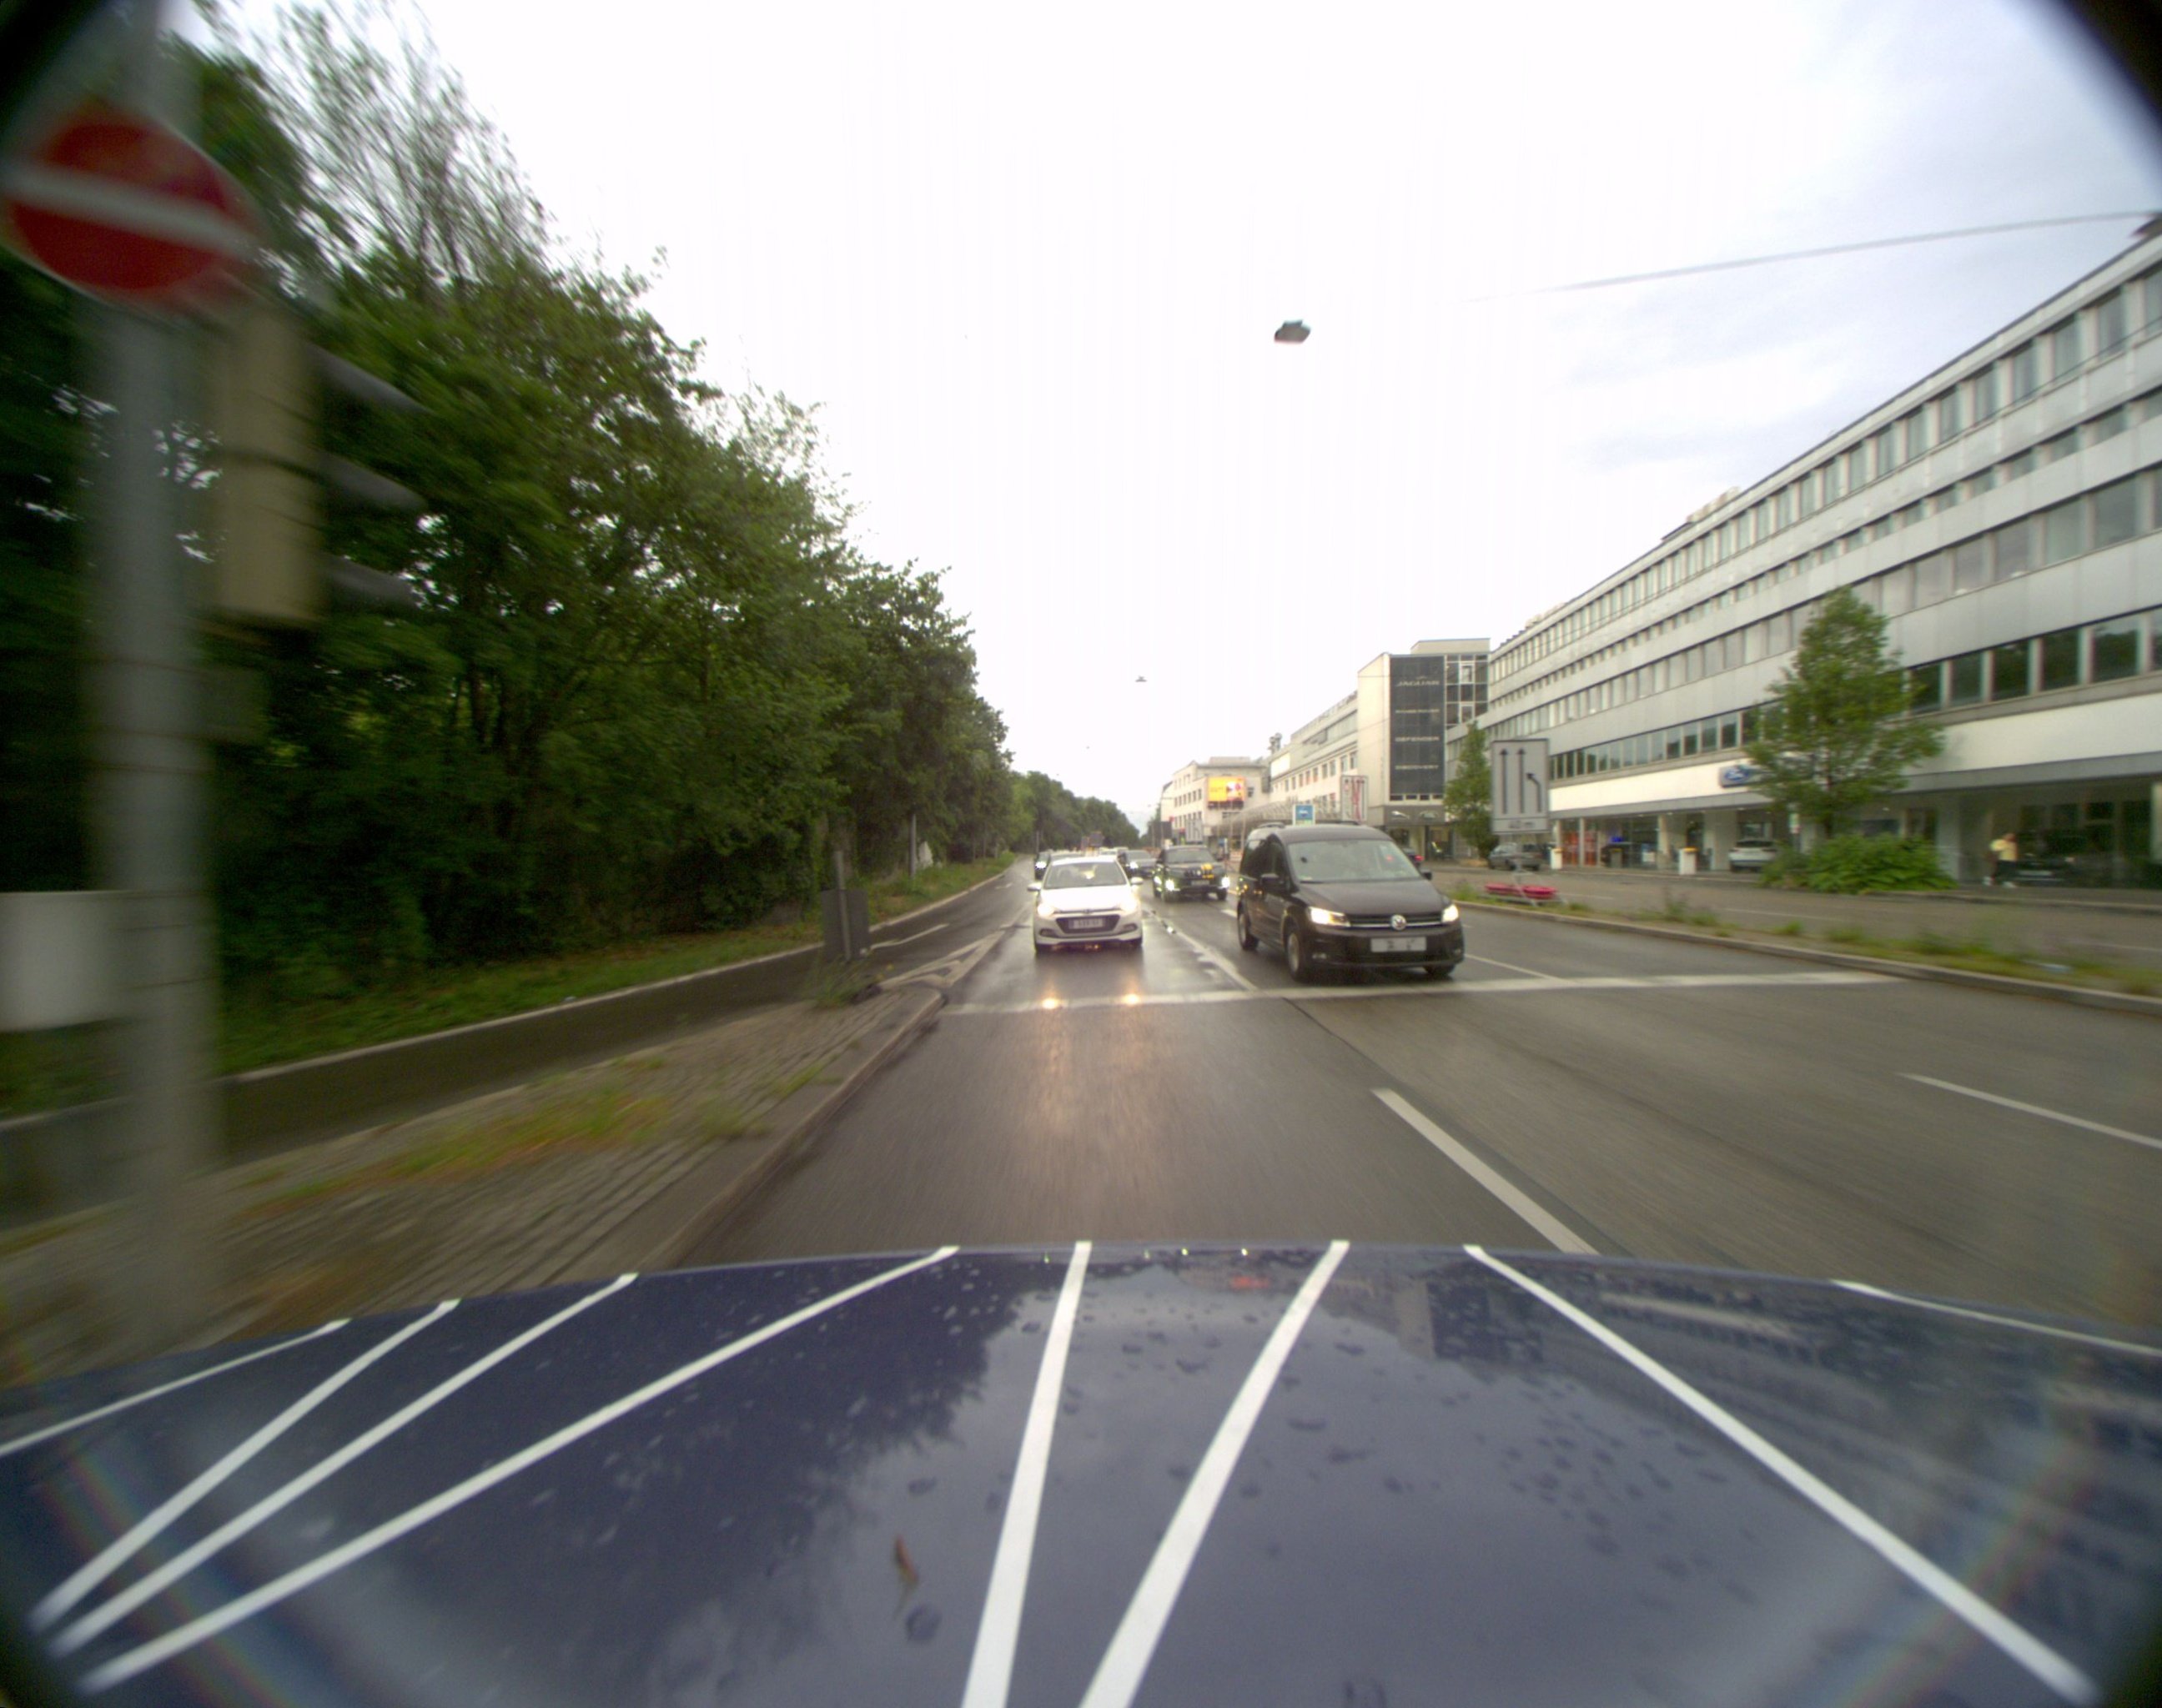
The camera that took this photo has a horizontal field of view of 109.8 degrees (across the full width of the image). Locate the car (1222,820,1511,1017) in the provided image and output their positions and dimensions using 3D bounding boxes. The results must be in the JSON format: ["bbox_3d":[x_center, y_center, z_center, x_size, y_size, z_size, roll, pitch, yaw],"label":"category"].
[{"bbox_3d":[3.184,0.601,9.594,1.905,1.804,4.430,-4,1,0],"label":"car"}]

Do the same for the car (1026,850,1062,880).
[{"bbox_3d":[-2.185,0.633,45.973,1.814,1.590,4.332,-4,1,0],"label":"car"}]

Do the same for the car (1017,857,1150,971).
[{"bbox_3d":[0.039,0.871,13.058,1.814,1.444,4.332,-4,1,0],"label":"car"}]

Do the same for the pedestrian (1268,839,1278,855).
[{"bbox_3d":[22.297,-0.762,88.091,0.895,1.804,0.941,-3,1,3],"label":"pedestrian"}]

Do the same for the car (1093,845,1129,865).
[{"bbox_3d":[2.471,0.059,61.710,1.769,1.407,4.337,-3,1,16],"label":"car"}]

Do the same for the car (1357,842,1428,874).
[{"bbox_3d":[14.883,0.160,36.569,1.690,1.411,4.214,0,1,0],"label":"car"}]

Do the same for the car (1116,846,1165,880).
[{"bbox_3d":[3.066,0.448,39.852,1.815,1.590,4.331,-4,1,-5],"label":"car"}]

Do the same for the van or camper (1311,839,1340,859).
[{"bbox_3d":[25.671,-0.521,79.840,1.928,1.918,4.255,-3,1,5],"label":"van or camper"}]

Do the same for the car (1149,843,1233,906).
[{"bbox_3d":[3.190,0.534,22.876,1.814,1.590,4.332,-4,1,0],"label":"car"}]

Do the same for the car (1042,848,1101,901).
[{"bbox_3d":[-0.305,0.661,26.933,1.814,1.590,4.332,-4,1,0],"label":"car"}]

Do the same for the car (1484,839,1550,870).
[{"bbox_3d":[27.348,-0.001,47.841,1.922,1.805,4.166,-3,1,4],"label":"car"}]

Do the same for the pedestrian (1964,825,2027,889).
[{"bbox_3d":[26.549,0.085,22.070,0.761,1.765,0.864,-3,1,6],"label":"pedestrian"}]
